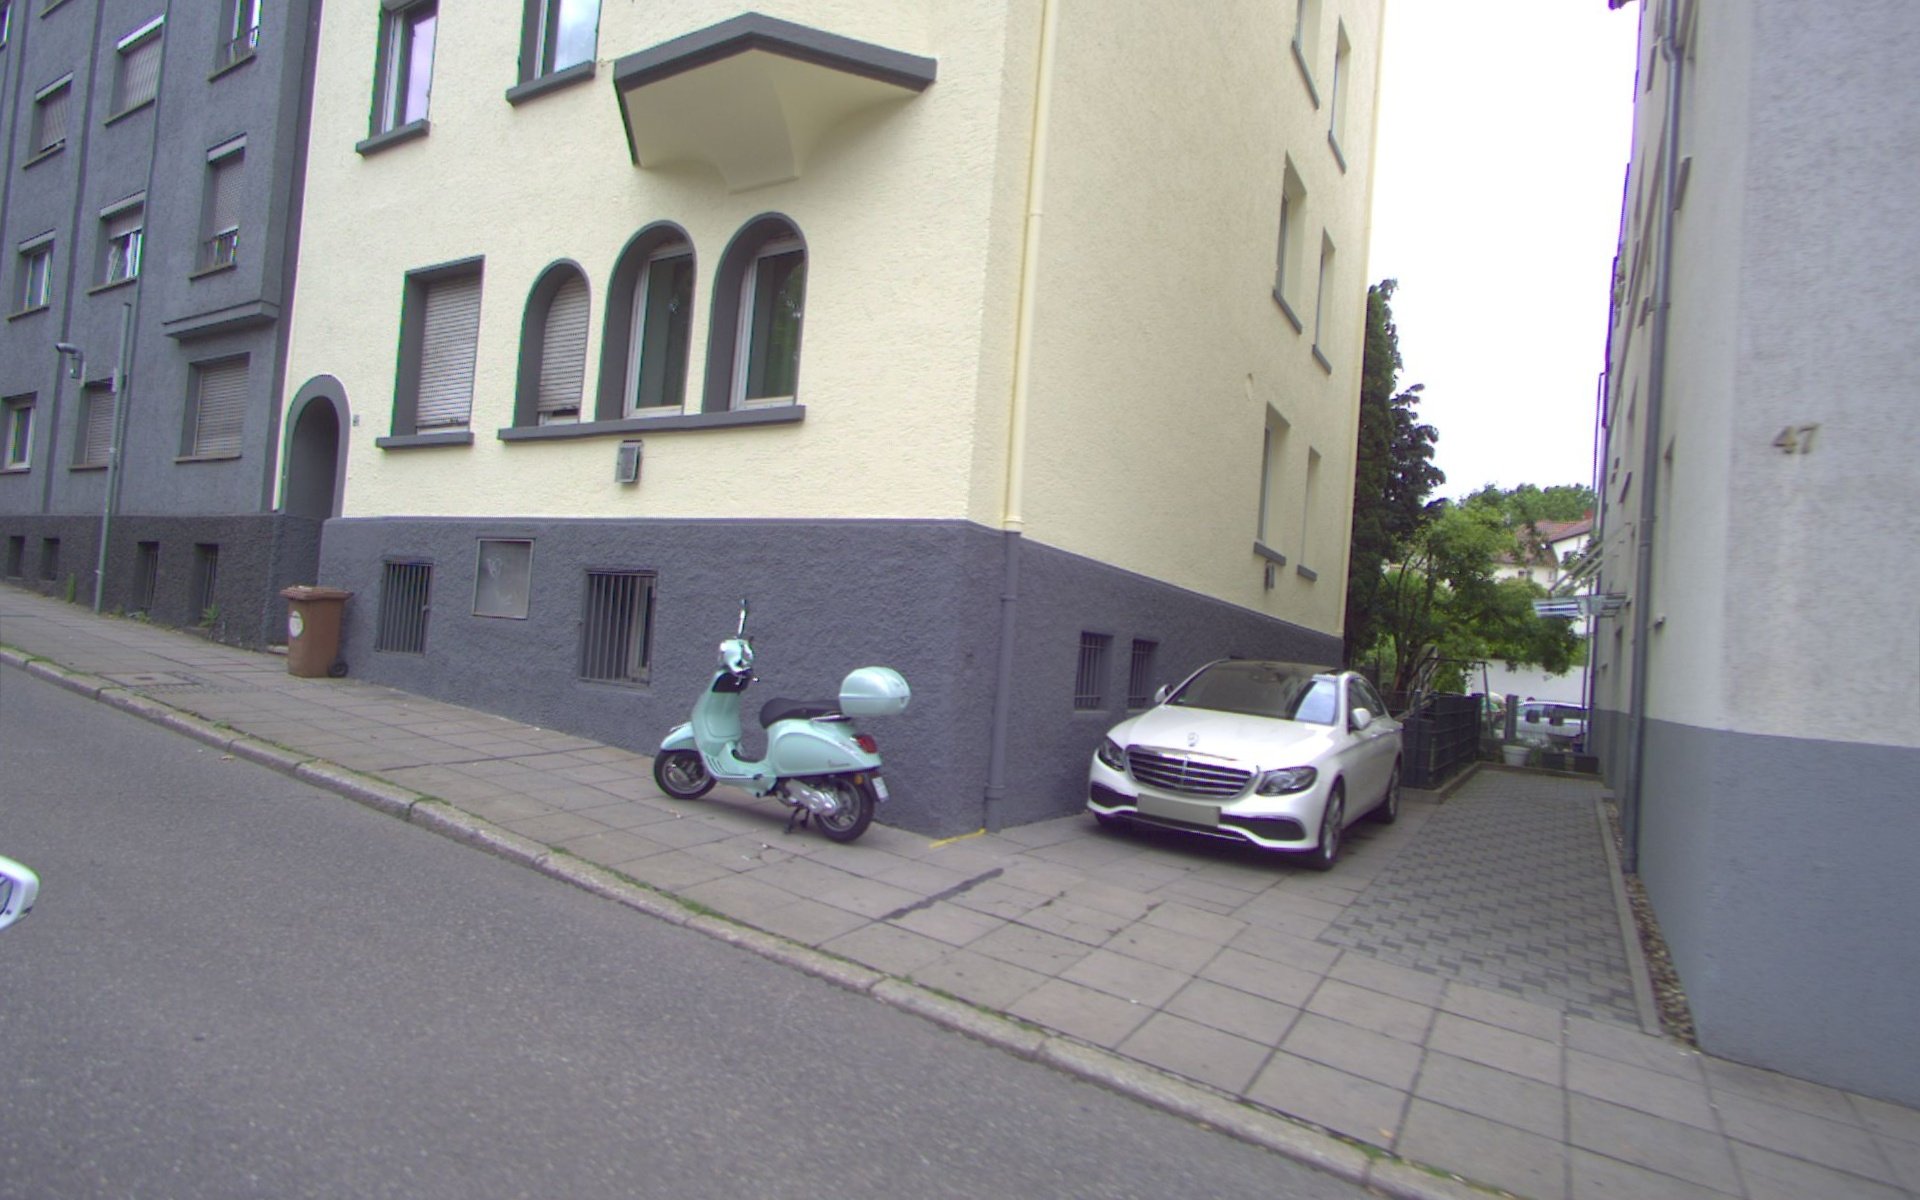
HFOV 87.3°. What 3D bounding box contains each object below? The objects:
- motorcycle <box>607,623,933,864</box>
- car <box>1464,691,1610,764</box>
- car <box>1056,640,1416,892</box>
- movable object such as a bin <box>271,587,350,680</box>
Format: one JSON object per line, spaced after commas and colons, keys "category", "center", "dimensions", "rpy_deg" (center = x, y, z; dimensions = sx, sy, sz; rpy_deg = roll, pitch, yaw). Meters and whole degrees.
{"category": "motorcycle", "center": [-1.300, 0.858, 6.612], "dimensions": [2.188, 1.171, 0.538], "rpy_deg": [7, 2, 29]}
{"category": "car", "center": [17.024, 3.730, 29.790], "dimensions": [3.524, 1.545, 1.675], "rpy_deg": [7, -1, 31]}
{"category": "car", "center": [2.620, 1.236, 8.773], "dimensions": [1.854, 1.441, 3.991], "rpy_deg": [7, 0, 32]}
{"category": "movable object such as a bin", "center": [-6.793, 0.349, 10.526], "dimensions": [0.508, 0.904, 0.475], "rpy_deg": [7, 2, 31]}
